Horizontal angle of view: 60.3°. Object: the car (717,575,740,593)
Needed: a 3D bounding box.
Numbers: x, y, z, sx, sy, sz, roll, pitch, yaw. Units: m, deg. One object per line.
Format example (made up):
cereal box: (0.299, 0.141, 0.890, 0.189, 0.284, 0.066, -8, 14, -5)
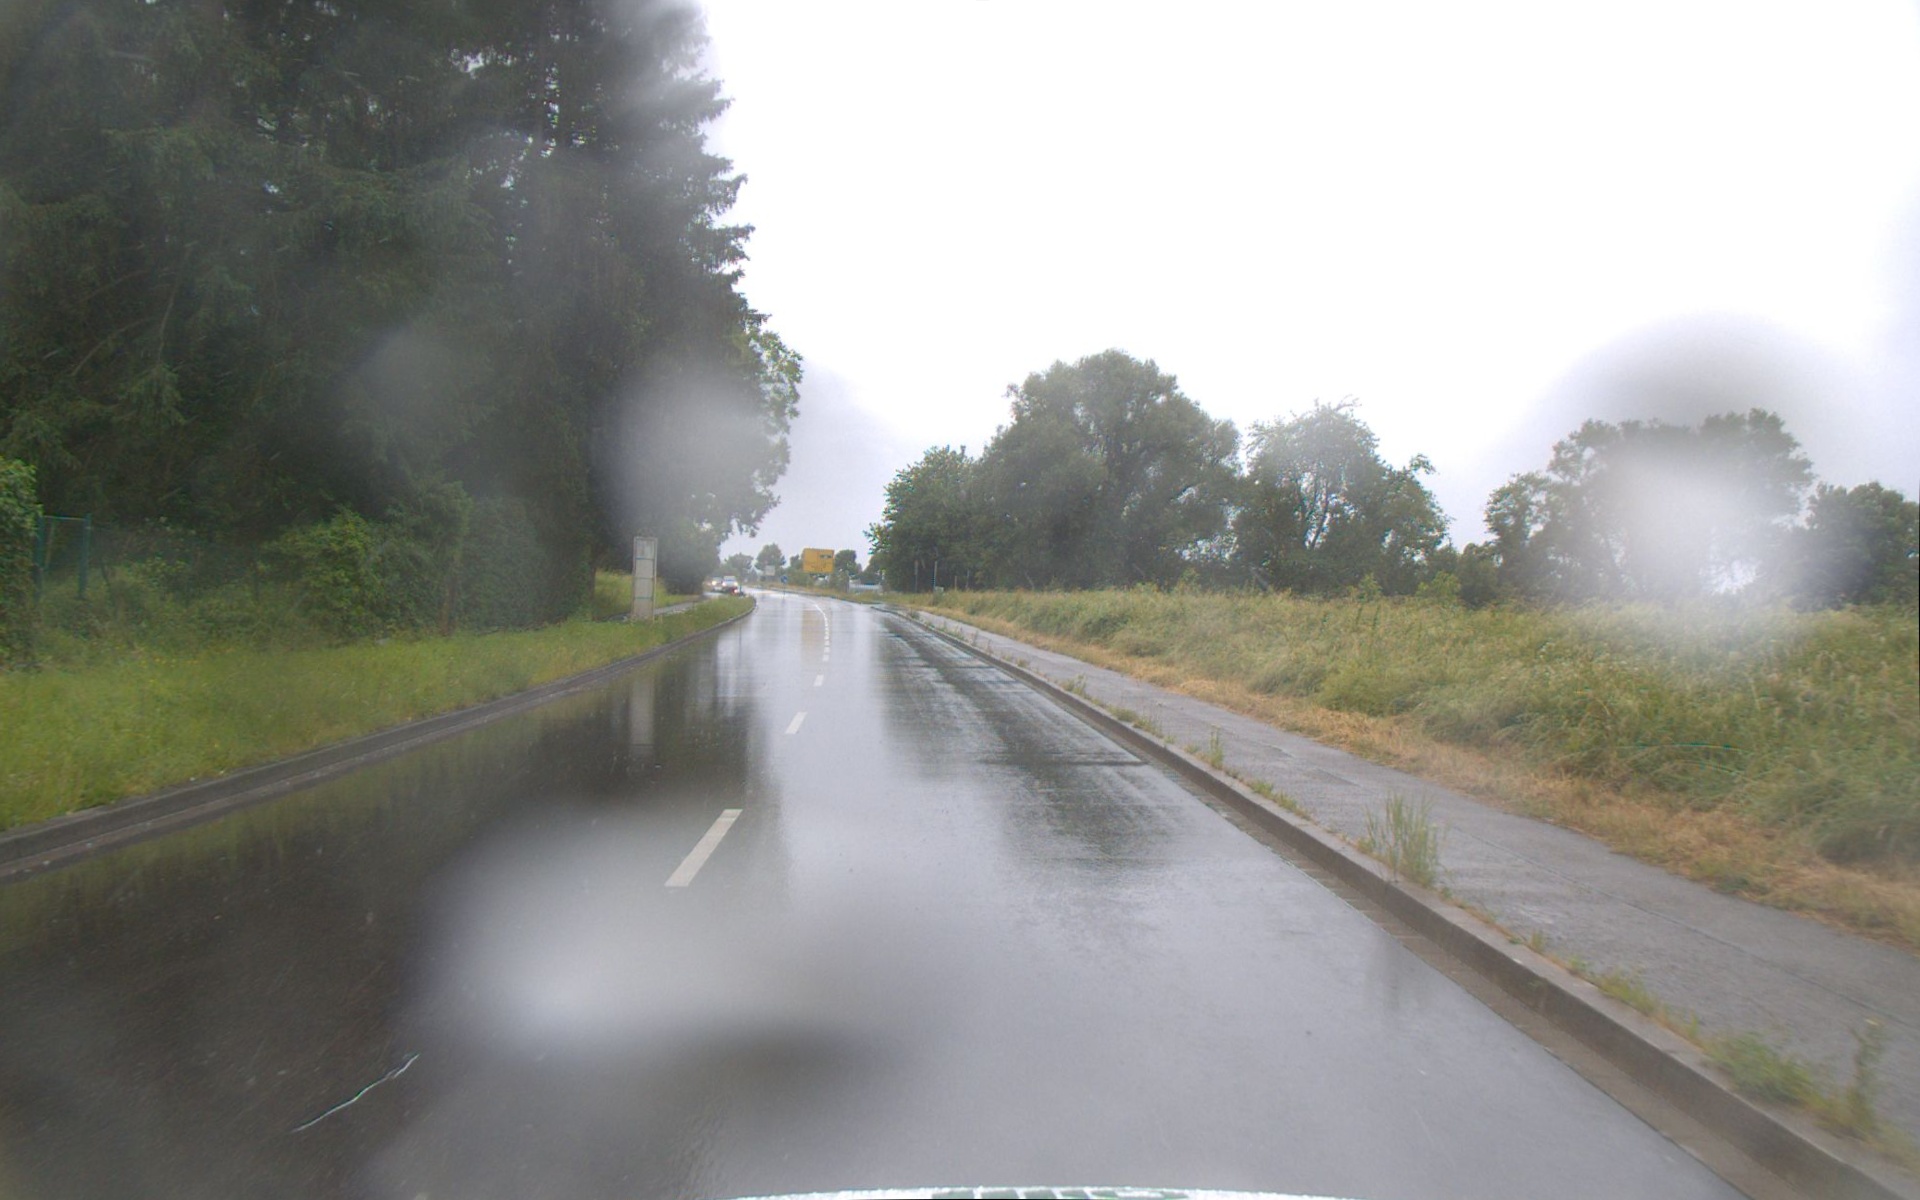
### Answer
car: (-26.182, -1.828, 186.927, 1.734, 1.578, 3.981, 0, 7, -20)
